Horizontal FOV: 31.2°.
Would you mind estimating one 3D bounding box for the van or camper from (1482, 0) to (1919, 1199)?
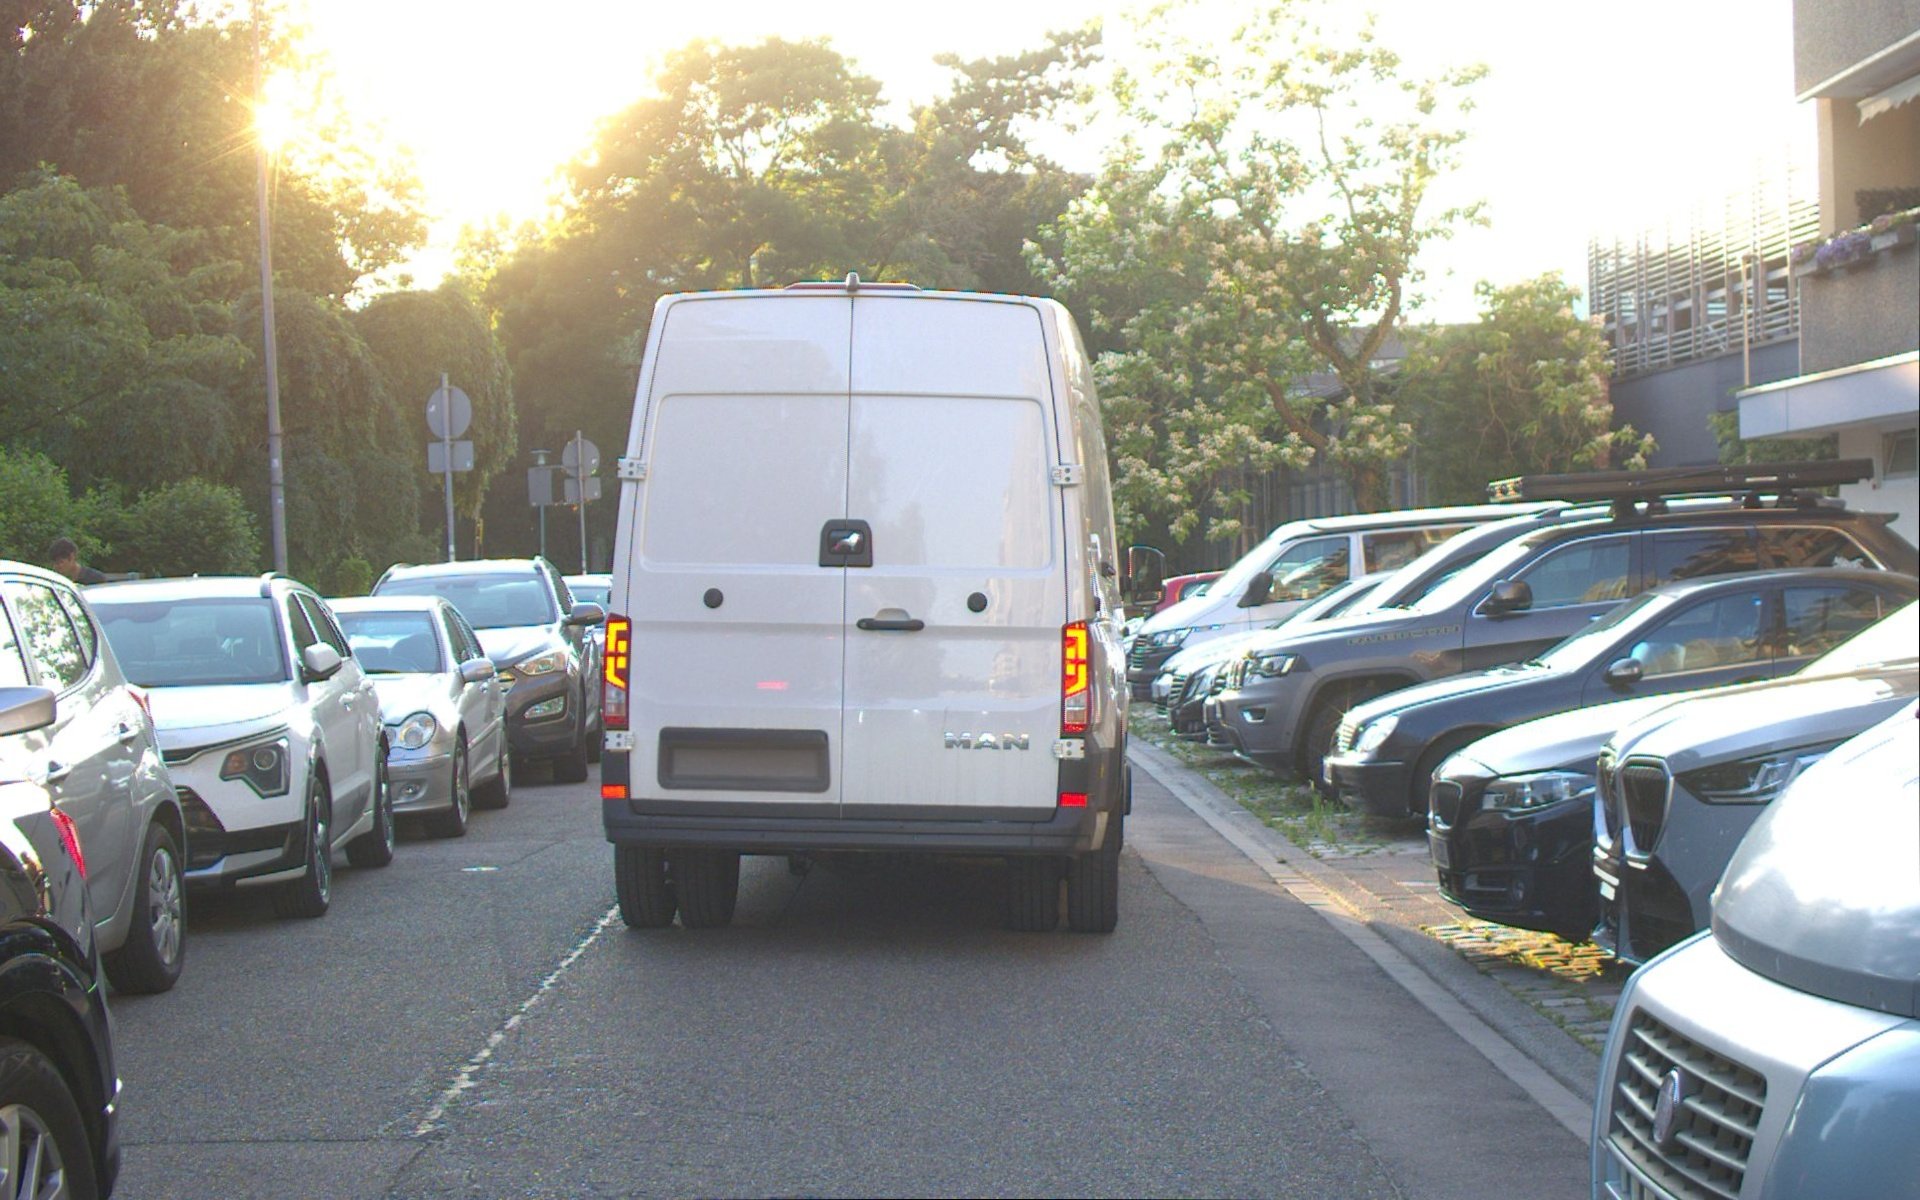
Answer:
[{"bbox_3d":[3.926,0.026,5.176,5.928,2.760,2.110,0,0,-1],"label":"van or camper"}]

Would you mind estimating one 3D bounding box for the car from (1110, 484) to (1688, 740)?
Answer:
[{"bbox_3d":[3.727,0.083,29.783,4.705,2.138,2.000,0,1,-2],"label":"car"}]

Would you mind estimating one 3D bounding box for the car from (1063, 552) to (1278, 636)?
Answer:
[{"bbox_3d":[4.120,-0.135,67.599,3.986,1.612,2.000,0,1,-4],"label":"car"}]

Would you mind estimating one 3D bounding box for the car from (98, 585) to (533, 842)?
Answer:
[{"bbox_3d":[-3.837,0.623,21.156,1.993,1.393,4.000,0,1,-1],"label":"car"}]

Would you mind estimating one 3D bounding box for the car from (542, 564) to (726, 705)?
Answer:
[{"bbox_3d":[-3.896,0.374,41.656,1.993,1.612,4.000,0,1,-2],"label":"car"}]

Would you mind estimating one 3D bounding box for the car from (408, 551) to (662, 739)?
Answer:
[{"bbox_3d":[-3.833,0.364,31.623,1.993,1.612,4.000,0,1,-2],"label":"car"}]

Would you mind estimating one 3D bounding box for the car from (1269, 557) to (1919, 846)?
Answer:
[{"bbox_3d":[4.015,0.542,19.803,4.236,1.420,1.719,-3,1,-1],"label":"car"}]

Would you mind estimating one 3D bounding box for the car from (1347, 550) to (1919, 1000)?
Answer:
[{"bbox_3d":[3.669,0.553,13.200,3.986,1.449,1.836,-4,1,-4],"label":"car"}]

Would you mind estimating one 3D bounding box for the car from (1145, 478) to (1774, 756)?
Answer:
[{"bbox_3d":[3.920,0.113,27.551,4.705,2.138,2.000,0,1,-2],"label":"car"}]

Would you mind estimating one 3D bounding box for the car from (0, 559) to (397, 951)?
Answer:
[{"bbox_3d":[-3.816,0.626,16.096,1.856,1.549,4.100,-2,1,-3],"label":"car"}]

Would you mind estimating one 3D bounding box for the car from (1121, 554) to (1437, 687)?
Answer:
[{"bbox_3d":[4.161,0.255,45.325,3.987,1.722,2.000,0,1,0],"label":"car"}]

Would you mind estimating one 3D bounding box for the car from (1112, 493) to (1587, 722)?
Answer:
[{"bbox_3d":[3.830,0.061,34.415,4.495,2.223,2.032,0,0,-1],"label":"car"}]

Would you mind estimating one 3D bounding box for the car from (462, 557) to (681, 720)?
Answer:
[{"bbox_3d":[-3.996,0.354,35.936,1.993,1.612,4.000,0,1,-2],"label":"car"}]

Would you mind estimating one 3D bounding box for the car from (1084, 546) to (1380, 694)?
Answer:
[{"bbox_3d":[3.725,0.258,47.645,3.987,2.007,2.000,0,1,1],"label":"car"}]

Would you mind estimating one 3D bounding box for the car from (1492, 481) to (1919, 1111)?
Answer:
[{"bbox_3d":[4.074,0.465,10.637,4.433,1.722,1.773,-2,1,-7],"label":"car"}]

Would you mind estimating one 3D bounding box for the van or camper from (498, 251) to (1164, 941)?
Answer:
[{"bbox_3d":[-0.364,-0.053,15.877,2.454,2.538,6.083,1,1,2],"label":"van or camper"}]

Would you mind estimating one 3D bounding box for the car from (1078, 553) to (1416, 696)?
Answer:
[{"bbox_3d":[3.479,0.282,42.285,3.987,1.722,2.000,0,1,0],"label":"car"}]

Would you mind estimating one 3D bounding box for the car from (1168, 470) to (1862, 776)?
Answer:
[{"bbox_3d":[3.963,0.143,25.124,4.705,2.138,2.000,0,1,-2],"label":"car"}]

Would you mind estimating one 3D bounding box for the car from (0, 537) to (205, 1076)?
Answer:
[{"bbox_3d":[-3.805,0.662,10.866,1.783,1.625,4.000,-3,1,1],"label":"car"}]

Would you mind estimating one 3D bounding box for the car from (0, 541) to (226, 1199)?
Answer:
[{"bbox_3d":[-2.564,0.726,4.347,1.805,1.564,4.564,-1,0,7],"label":"car"}]

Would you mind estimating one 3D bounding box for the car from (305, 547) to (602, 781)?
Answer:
[{"bbox_3d":[-3.801,0.431,26.416,1.993,1.656,4.001,0,1,-5],"label":"car"}]

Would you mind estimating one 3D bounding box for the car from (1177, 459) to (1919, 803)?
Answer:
[{"bbox_3d":[3.859,0.175,22.467,4.705,2.138,2.000,0,1,-2],"label":"car"}]

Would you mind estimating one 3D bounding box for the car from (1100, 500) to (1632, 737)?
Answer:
[{"bbox_3d":[3.734,0.150,32.230,4.705,2.138,2.000,0,1,-2],"label":"car"}]
